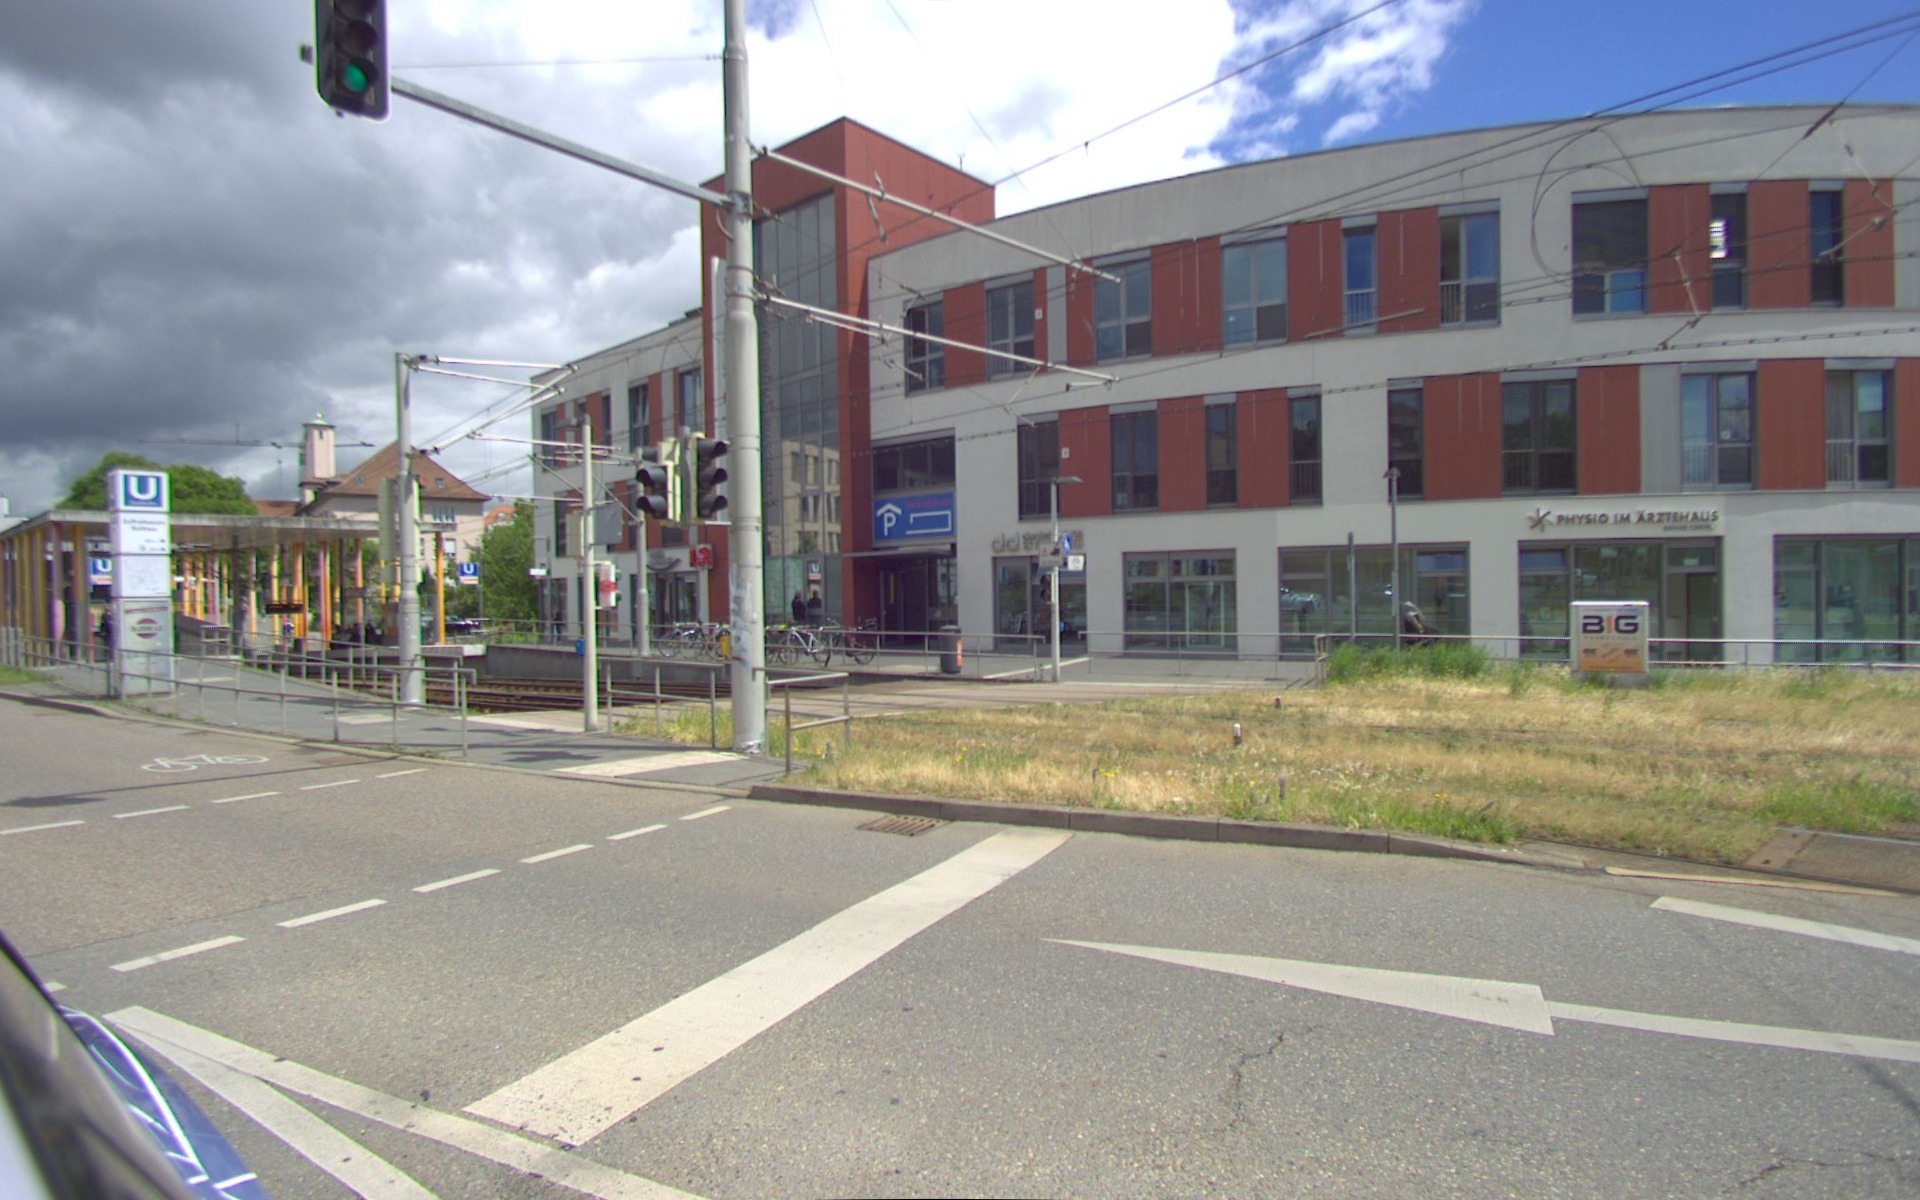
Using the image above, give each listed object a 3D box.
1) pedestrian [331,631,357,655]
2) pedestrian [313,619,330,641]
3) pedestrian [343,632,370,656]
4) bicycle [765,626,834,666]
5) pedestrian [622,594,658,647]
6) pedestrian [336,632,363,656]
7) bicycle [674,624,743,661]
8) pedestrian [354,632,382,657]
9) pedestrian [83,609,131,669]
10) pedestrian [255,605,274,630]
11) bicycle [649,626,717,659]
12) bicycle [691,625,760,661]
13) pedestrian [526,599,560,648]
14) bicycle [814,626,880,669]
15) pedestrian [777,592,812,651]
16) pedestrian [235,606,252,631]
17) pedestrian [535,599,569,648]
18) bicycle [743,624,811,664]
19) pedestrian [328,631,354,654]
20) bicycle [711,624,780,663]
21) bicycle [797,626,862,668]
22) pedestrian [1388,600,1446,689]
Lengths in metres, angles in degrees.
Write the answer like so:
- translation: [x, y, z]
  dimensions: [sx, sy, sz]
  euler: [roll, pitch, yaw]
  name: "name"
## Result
- translation: [-30.803, 2.150, 50.619]
  dimensions: [0.886, 1.143, 0.931]
  euler: [-2, -1, 42]
  name: "pedestrian"
- translation: [-43.765, 2.048, 69.354]
  dimensions: [0.901, 1.461, 0.736]
  euler: [-2, -1, 36]
  name: "pedestrian"
- translation: [-29.396, 2.143, 49.266]
  dimensions: [0.886, 1.143, 0.931]
  euler: [-2, -1, 42]
  name: "pedestrian"
- translation: [-4.054, 1.145, 25.699]
  dimensions: [0.454, 0.942, 1.837]
  euler: [-1, 0, 43]
  name: "bicycle"
- translation: [-12.137, 0.761, 38.353]
  dimensions: [1.106, 1.983, 0.852]
  euler: [0, -1, 43]
  name: "pedestrian"
- translation: [-30.113, 2.146, 49.901]
  dimensions: [0.886, 1.143, 0.931]
  euler: [-2, -1, 42]
  name: "pedestrian"
- translation: [-6.981, 1.162, 28.141]
  dimensions: [1.835, 0.939, 0.455]
  euler: [0, 0, -41]
  name: "bicycle"
- translation: [-28.547, 2.143, 48.791]
  dimensions: [0.886, 1.143, 0.931]
  euler: [-2, -1, 42]
  name: "pedestrian"
- translation: [-28.267, 1.271, 33.536]
  dimensions: [0.864, 1.929, 1.090]
  euler: [0, -1, 42]
  name: "pedestrian"
- translation: [-57.174, 1.445, 83.155]
  dimensions: [1.112, 2.029, 1.180]
  euler: [0, -1, -44]
  name: "pedestrian"
- translation: [-7.874, 1.198, 28.829]
  dimensions: [1.834, 0.888, 0.455]
  euler: [0, 0, -41]
  name: "bicycle"
- translation: [-6.368, 1.159, 27.582]
  dimensions: [1.835, 0.929, 0.455]
  euler: [0, 0, -42]
  name: "bicycle"
- translation: [-17.168, 0.943, 41.633]
  dimensions: [1.105, 1.983, 0.853]
  euler: [0, -1, 39]
  name: "pedestrian"
- translation: [-2.735, 1.146, 24.669]
  dimensions: [0.428, 0.959, 1.716]
  euler: [-1, 0, 43]
  name: "bicycle"
- translation: [-5.310, 0.673, 32.479]
  dimensions: [0.856, 1.859, 0.876]
  euler: [0, 1, 13]
  name: "pedestrian"
- translation: [-58.861, 1.554, 83.169]
  dimensions: [1.110, 2.029, 1.461]
  euler: [0, -1, -36]
  name: "pedestrian"
- translation: [-16.894, 0.968, 41.930]
  dimensions: [1.105, 1.983, 0.853]
  euler: [0, -1, 39]
  name: "pedestrian"
- translation: [-4.737, 1.134, 26.334]
  dimensions: [0.454, 0.970, 1.837]
  euler: [-1, 0, 43]
  name: "bicycle"
- translation: [-31.338, 2.158, 51.228]
  dimensions: [0.886, 1.143, 0.931]
  euler: [-2, -1, 42]
  name: "pedestrian"
- translation: [-5.696, 1.146, 26.982]
  dimensions: [1.836, 0.946, 0.455]
  euler: [0, 0, -45]
  name: "bicycle"
- translation: [-3.223, 1.145, 25.072]
  dimensions: [0.428, 0.965, 1.716]
  euler: [-1, 0, 43]
  name: "bicycle"
- translation: [10.501, 1.001, 23.299]
  dimensions: [1.106, 1.983, 0.860]
  euler: [0, -1, 17]
  name: "pedestrian"
